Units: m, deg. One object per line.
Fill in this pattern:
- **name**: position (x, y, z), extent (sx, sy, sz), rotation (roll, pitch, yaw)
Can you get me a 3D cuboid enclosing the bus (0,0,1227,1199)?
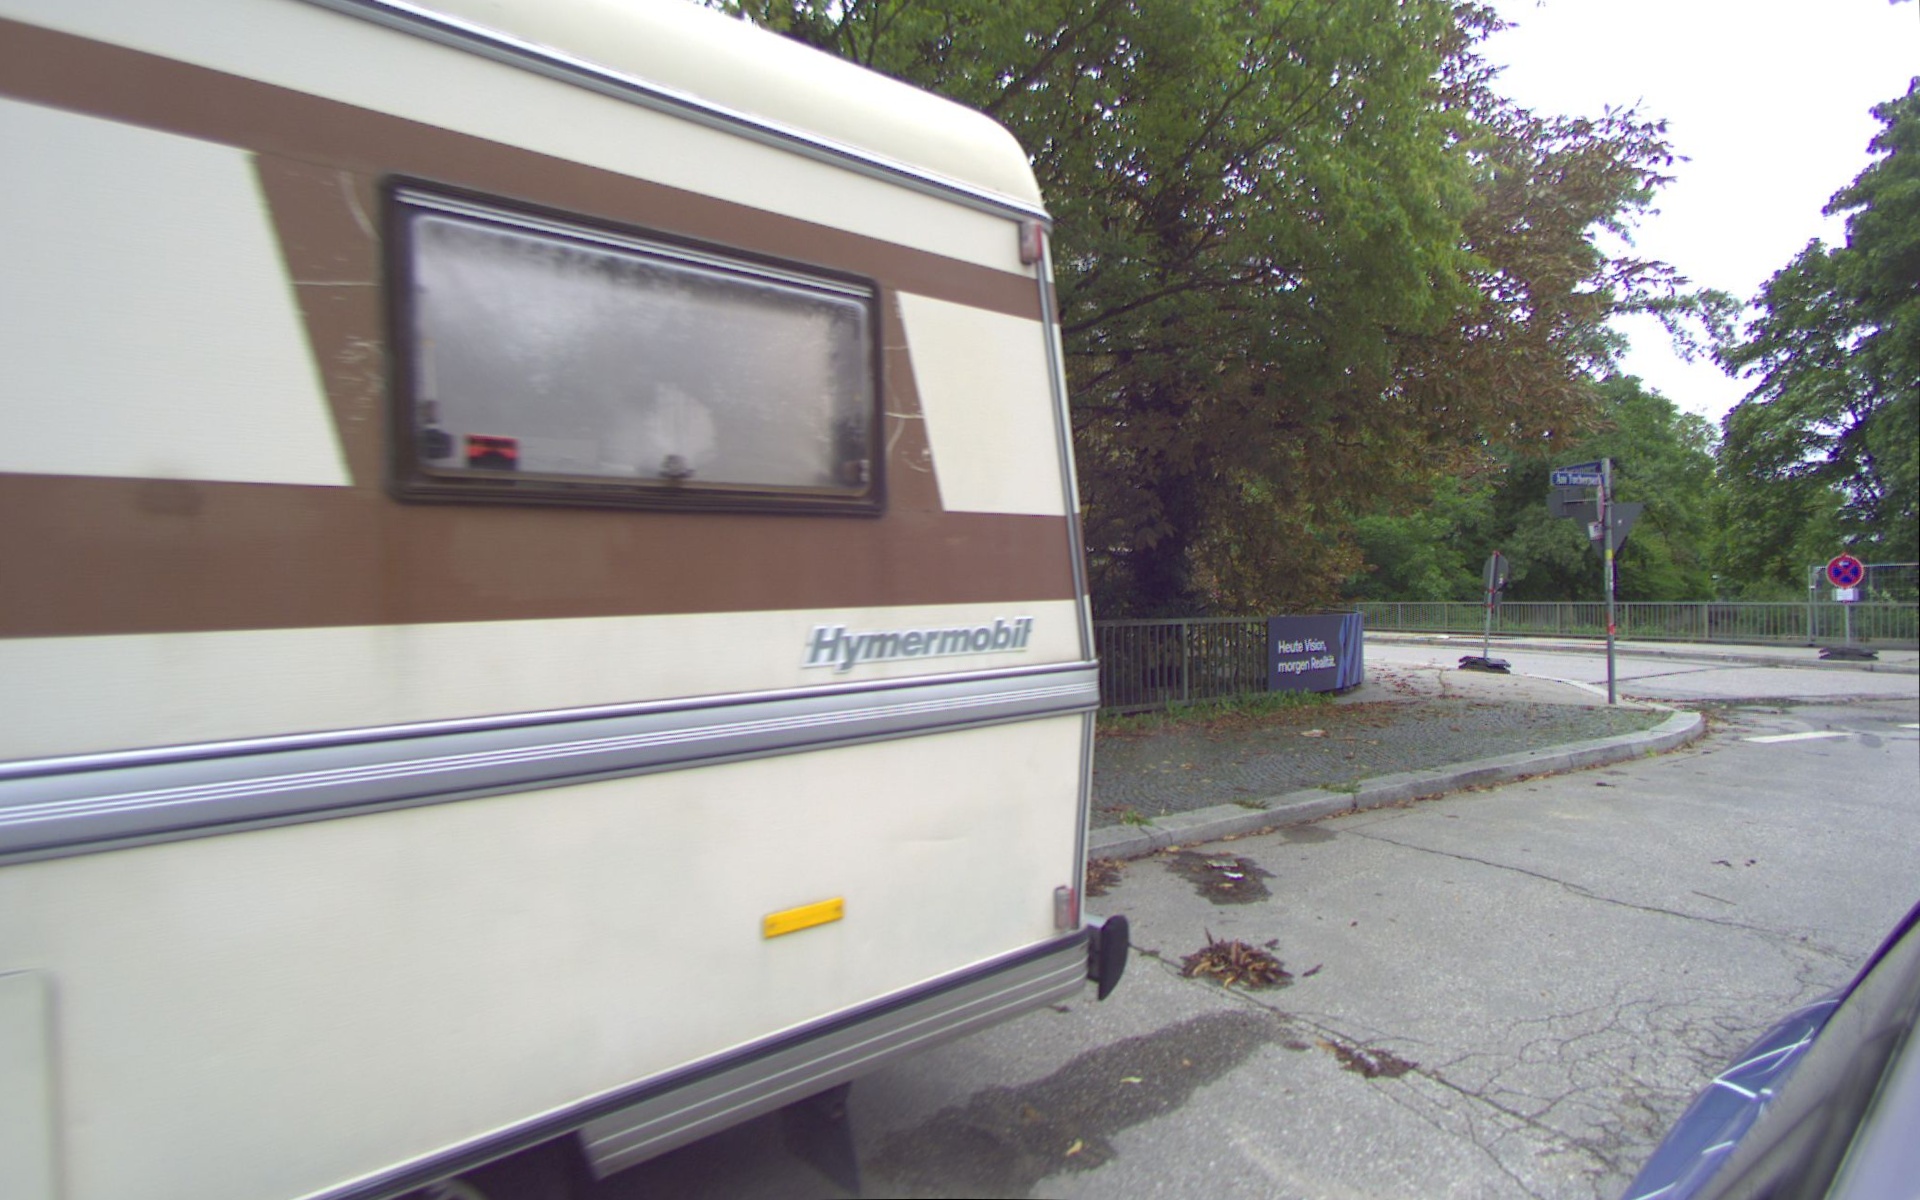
- **bus**: position (-2.210, 0.014, 1.673), extent (5.633, 2.733, 2.319), rotation (-1, 0, -40)
